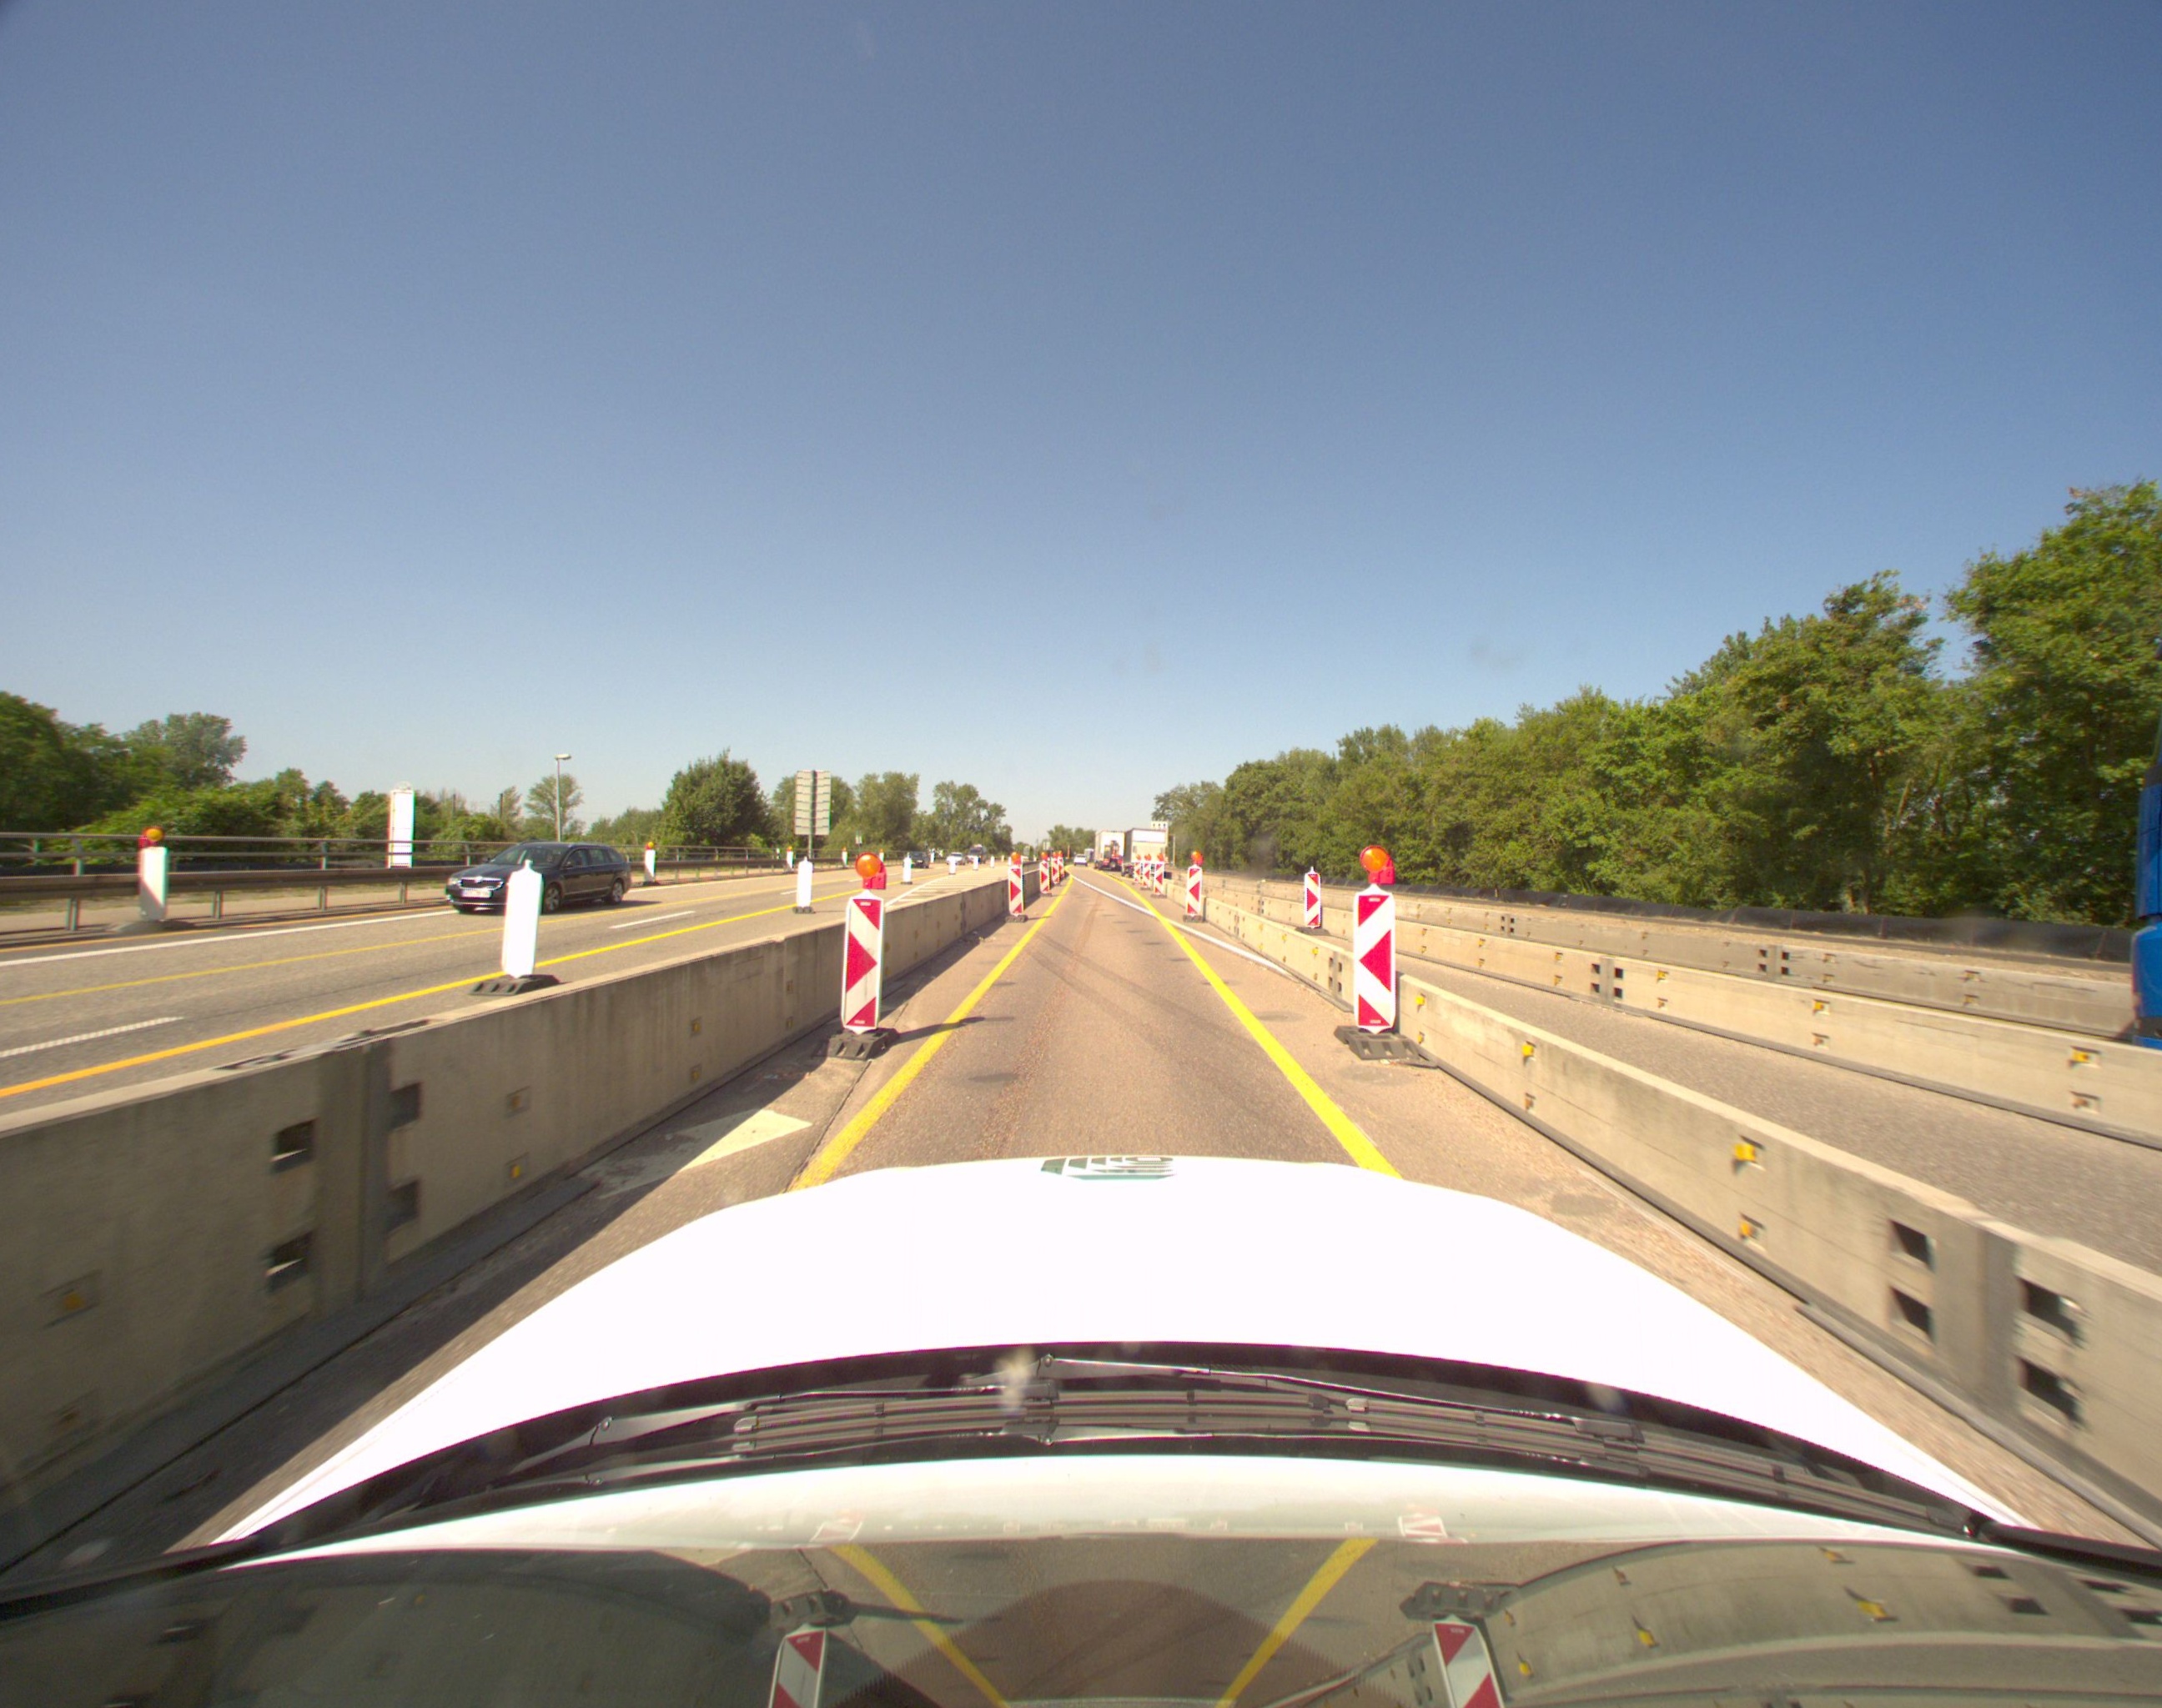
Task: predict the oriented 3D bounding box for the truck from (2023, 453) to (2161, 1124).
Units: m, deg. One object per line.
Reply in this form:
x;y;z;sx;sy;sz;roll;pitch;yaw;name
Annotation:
8.248;-0.395;2.184;2.691;4.102;7.285;0;0;-6;truck

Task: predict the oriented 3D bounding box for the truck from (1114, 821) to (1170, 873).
4.235;-0.488;58.086;2.631;3.427;7.218;2;0;-6;truck

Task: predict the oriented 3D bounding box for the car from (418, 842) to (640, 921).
-11.645;0.511;17.699;1.664;1.442;4.990;1;0;-4;car

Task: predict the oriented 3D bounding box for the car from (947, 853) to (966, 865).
-14.926;0.563;97.473;1.715;1.397;4.515;2;0;-3;car

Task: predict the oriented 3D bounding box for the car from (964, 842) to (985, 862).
-14.985;-0.309;115.001;2.139;2.660;5.546;1;0;0;car

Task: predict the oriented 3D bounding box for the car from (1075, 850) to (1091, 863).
0.209;0.303;113.390;1.814;1.776;3.991;0;0;-6;car

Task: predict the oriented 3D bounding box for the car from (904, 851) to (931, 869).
-14.324;0.504;71.467;1.734;1.476;4.639;1;0;-4;car

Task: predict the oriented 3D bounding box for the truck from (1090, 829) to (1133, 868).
2.999;-0.553;82.723;3.384;3.774;7.217;0;0;-6;truck
